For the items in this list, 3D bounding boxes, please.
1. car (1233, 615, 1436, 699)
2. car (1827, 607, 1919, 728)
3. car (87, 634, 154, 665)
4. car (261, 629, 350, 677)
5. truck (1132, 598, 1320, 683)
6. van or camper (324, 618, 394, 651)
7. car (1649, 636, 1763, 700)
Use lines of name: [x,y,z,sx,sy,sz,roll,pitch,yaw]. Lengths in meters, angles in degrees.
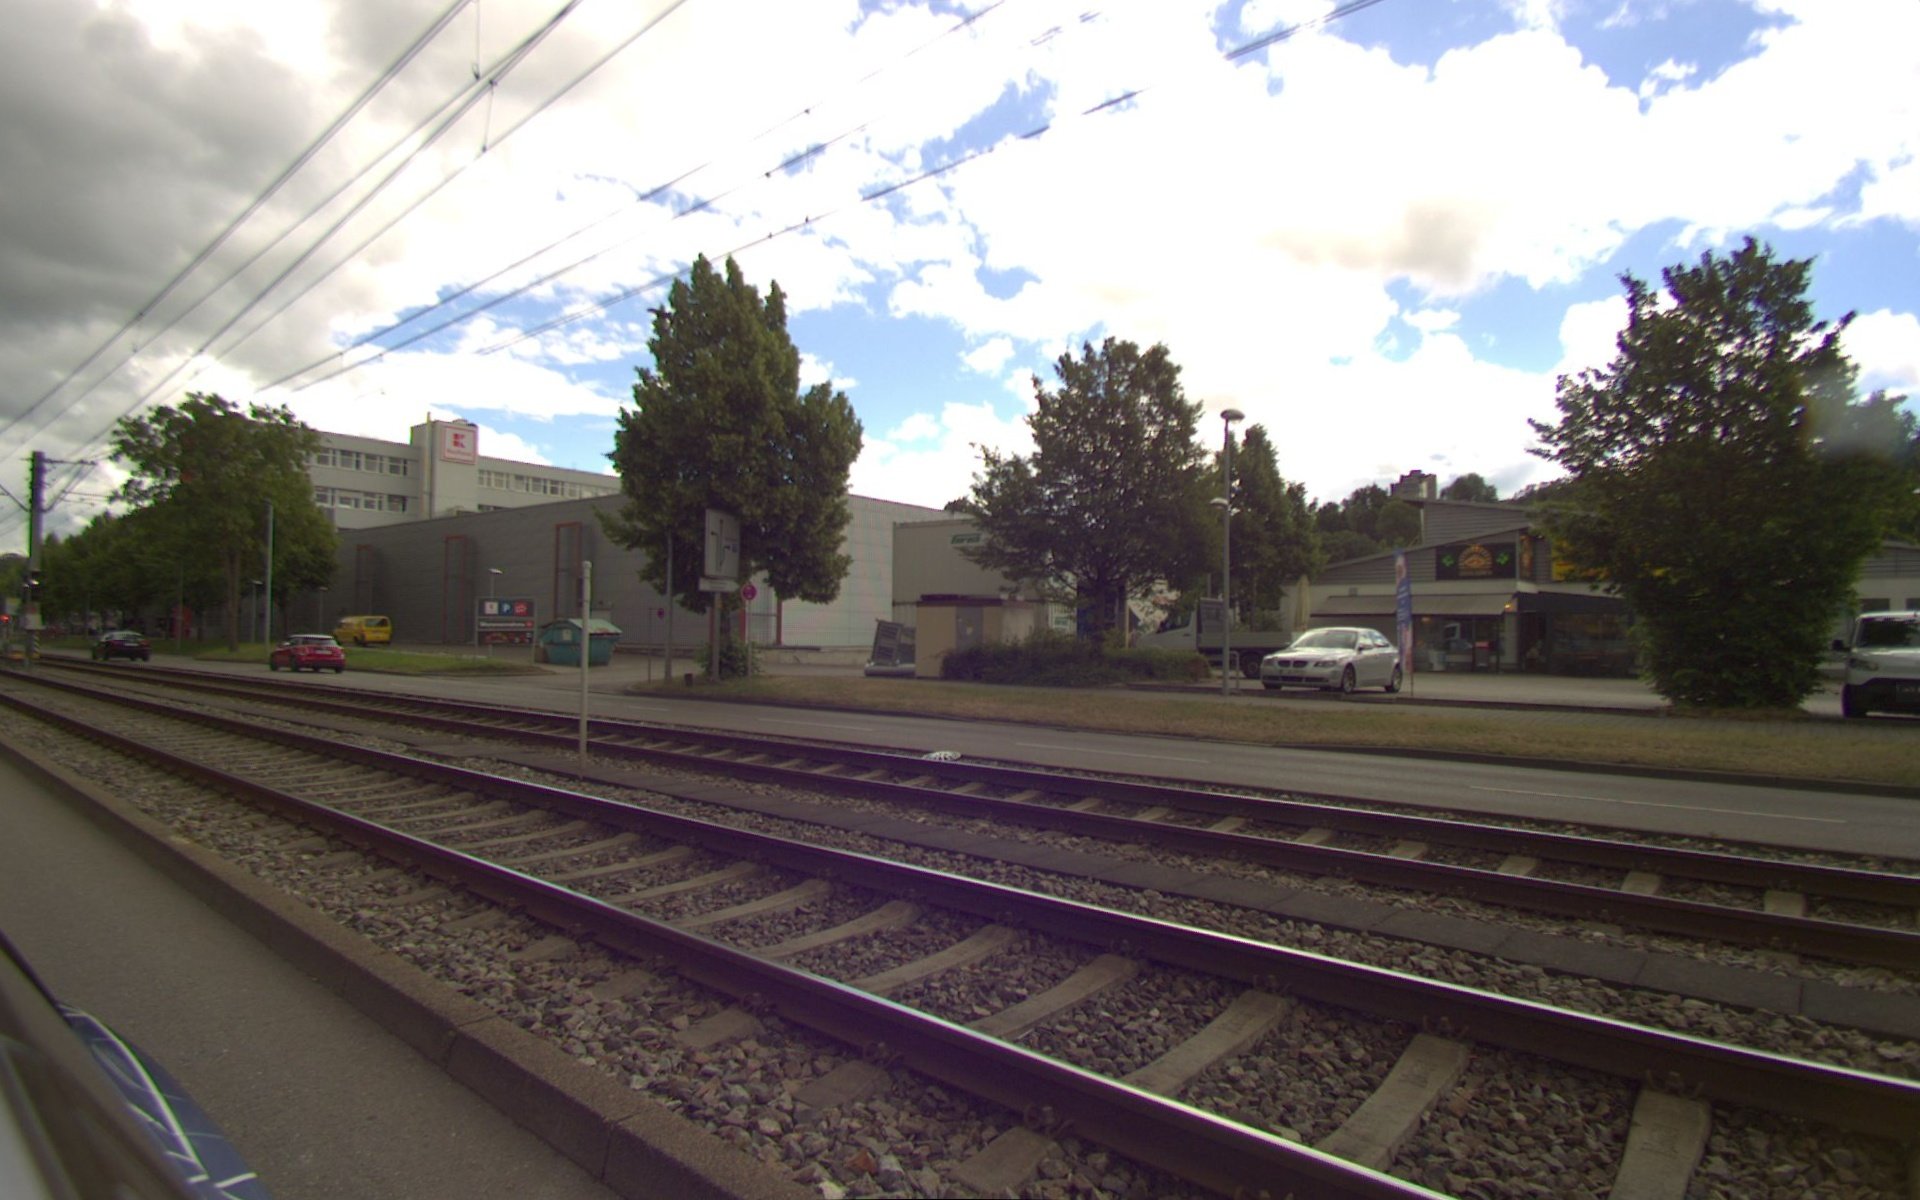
car: [8.370,1.230,22.402,2.651,1.641,4.730,-3,-4,42]
car: [15.254,1.046,16.142,1.993,1.740,4.178,-2,-3,39]
car: [-41.232,2.411,49.677,4.440,1.412,1.741,-2,-5,40]
car: [-25.561,2.039,39.490,3.996,1.785,1.774,-2,-3,40]
truck: [8.045,1.237,30.949,5.261,2.401,1.972,-2,-3,41]
van or camper: [-38.618,2.237,64.962,5.235,2.029,2.083,-2,-2,38]
car: [20.129,1.777,27.255,3.938,1.608,1.695,2,-3,-42]
